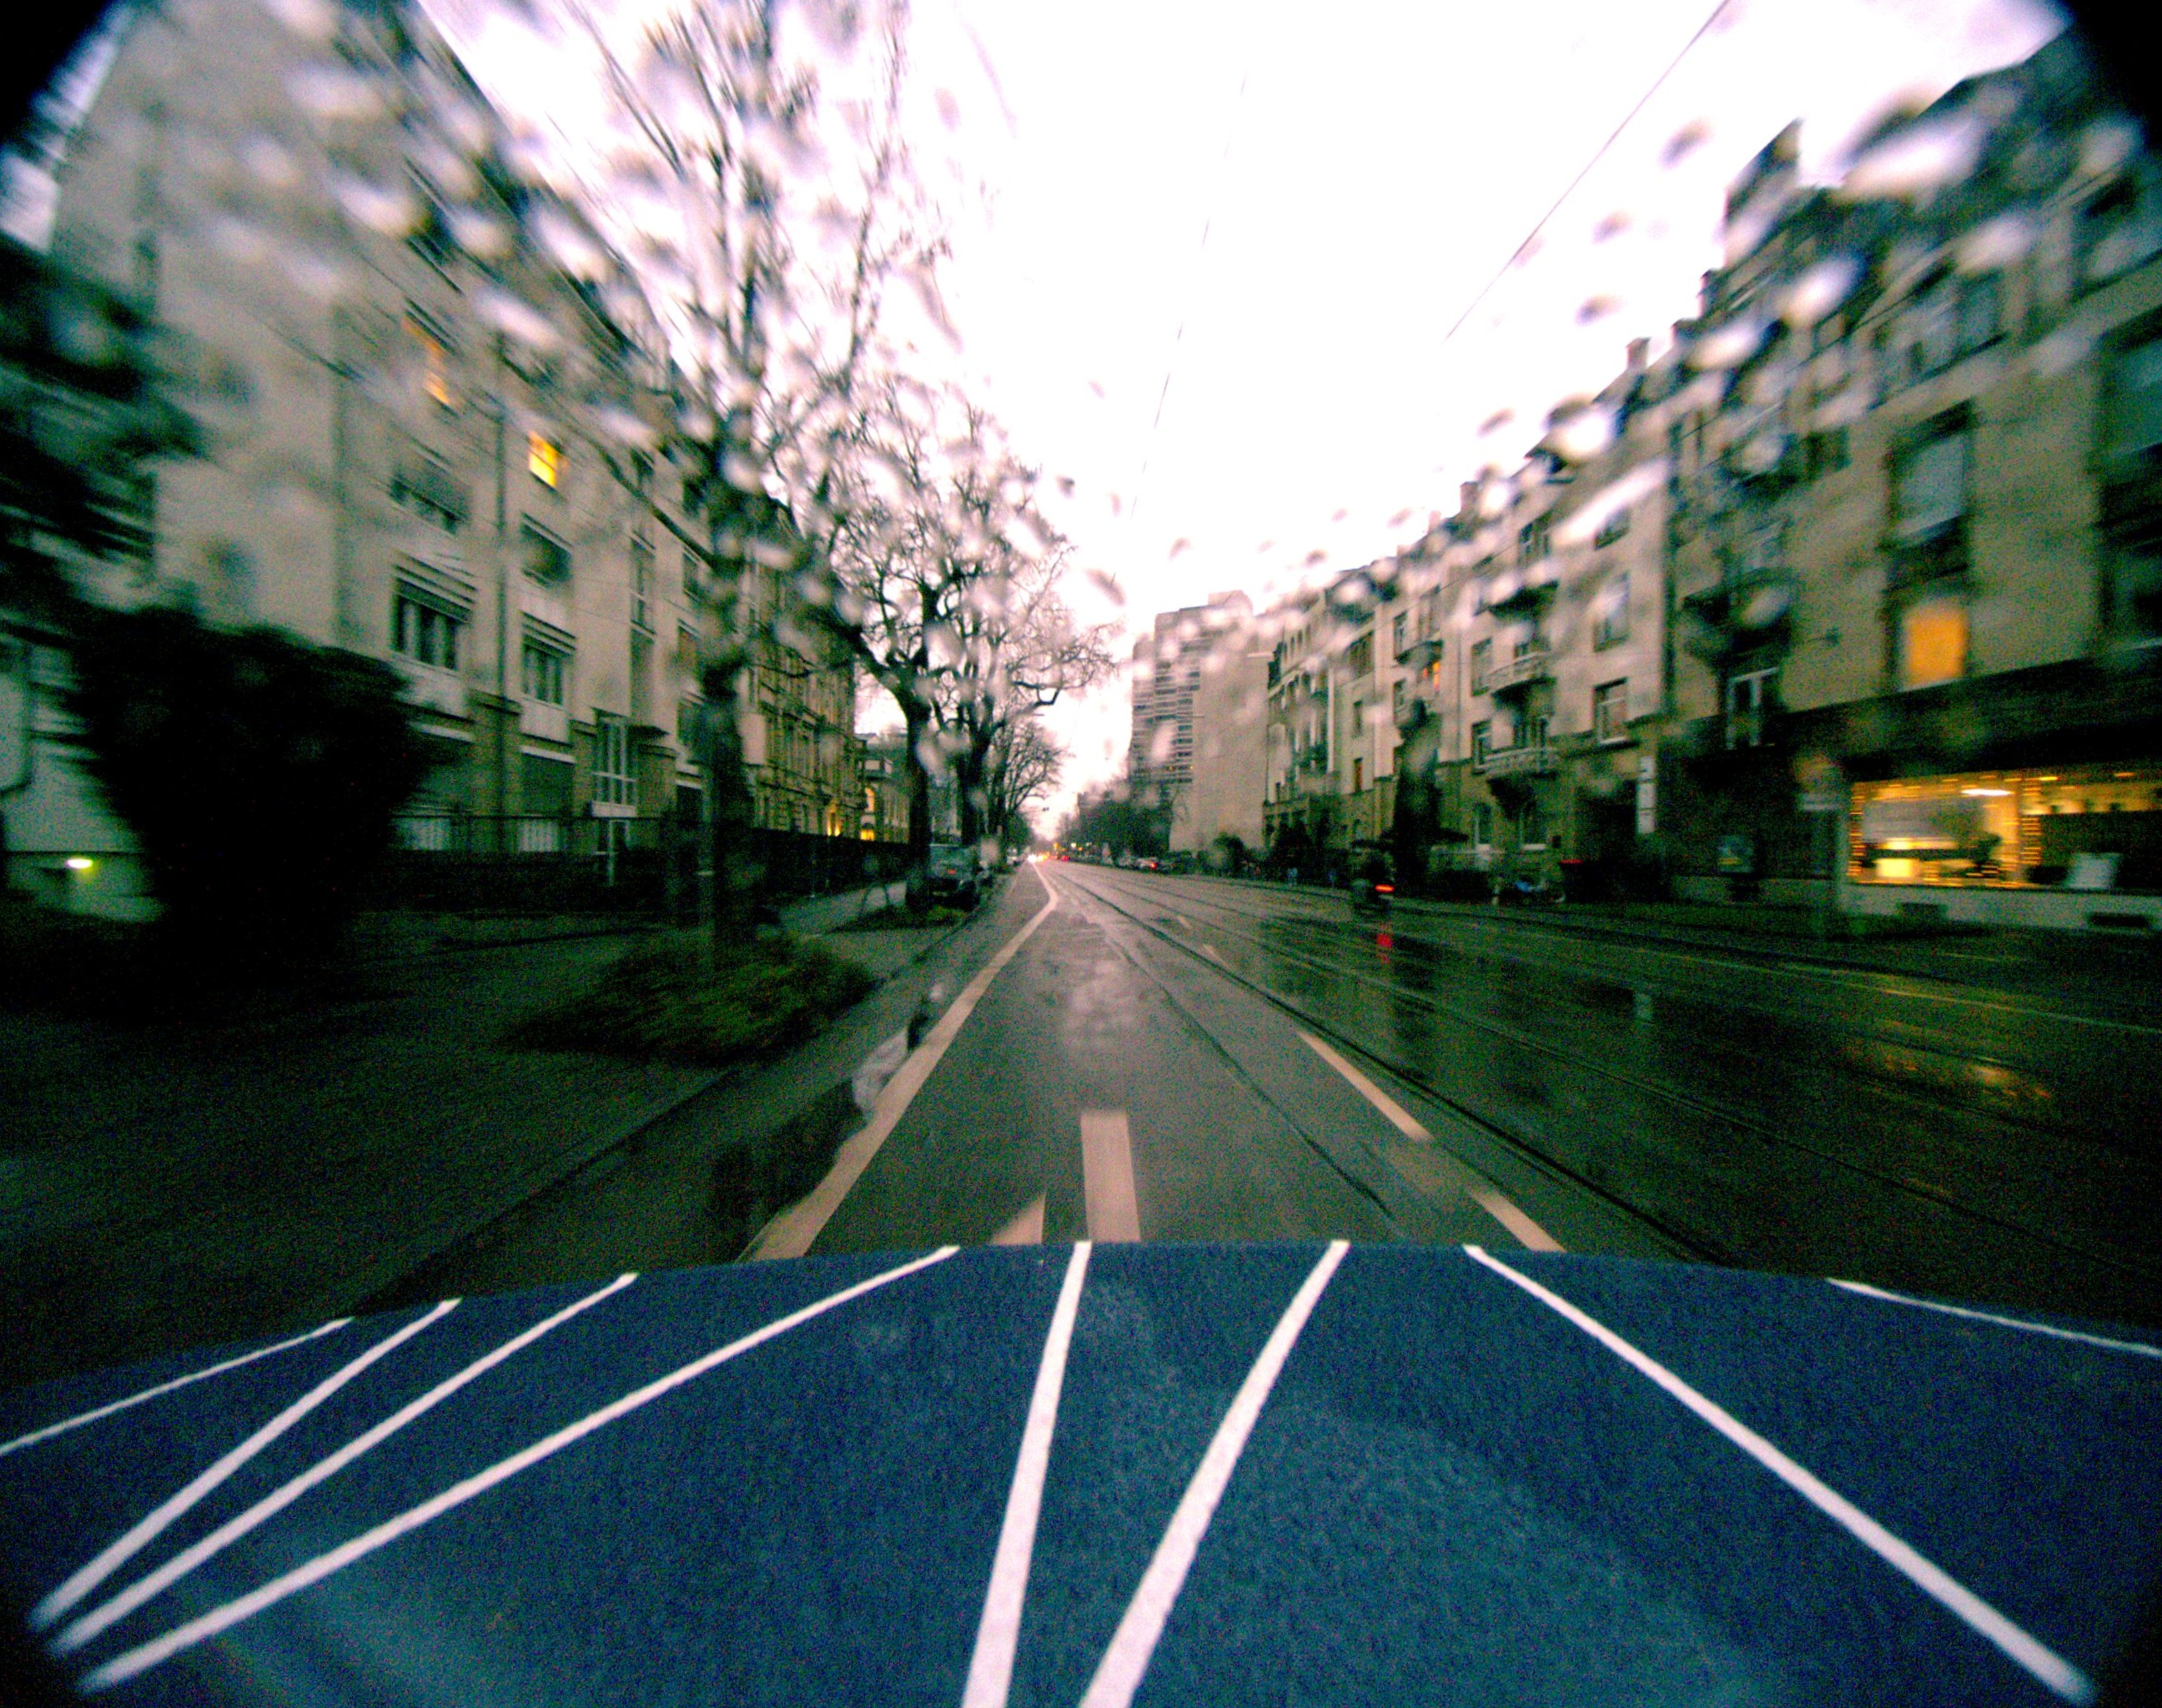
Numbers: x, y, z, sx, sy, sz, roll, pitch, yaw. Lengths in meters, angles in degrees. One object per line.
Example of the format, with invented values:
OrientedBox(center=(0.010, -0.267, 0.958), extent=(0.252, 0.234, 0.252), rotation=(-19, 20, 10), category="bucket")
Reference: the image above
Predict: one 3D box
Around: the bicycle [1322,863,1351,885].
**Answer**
OrientedBox(center=(11.209, 0.862, 33.430), extent=(0.531, 0.884, 2.209), rotation=(-3, 1, 0), category="bicycle")

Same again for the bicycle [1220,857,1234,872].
OrientedBox(center=(9.877, 0.704, 51.447), extent=(0.435, 1.001, 1.880), rotation=(-3, 1, -2), category="bicycle")

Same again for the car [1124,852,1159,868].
OrientedBox(center=(7.116, 0.672, 89.902), extent=(3.841, 1.707, 1.726), rotation=(-3, 1, -3), category="car")

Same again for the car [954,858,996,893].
OrientedBox(center=(-4.756, 0.926, 34.270), extent=(1.727, 1.405, 3.840), rotation=(-3, 1, -7), category="car")

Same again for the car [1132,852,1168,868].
OrientedBox(center=(7.931, 0.697, 87.128), extent=(3.841, 1.707, 1.727), rotation=(-2, 0, -3), category="car")

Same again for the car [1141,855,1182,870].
OrientedBox(center=(8.030, 0.830, 76.223), extent=(3.841, 1.405, 1.727), rotation=(-2, 0, -3), category="car")

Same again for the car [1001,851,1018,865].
OrientedBox(center=(-7.740, 0.412, 82.403), extent=(1.727, 1.405, 3.840), rotation=(0, 0, -7), category="car")

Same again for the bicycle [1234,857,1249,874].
OrientedBox(center=(10.122, 0.737, 47.980), extent=(0.435, 1.001, 1.880), rotation=(-3, 1, -2), category="bicycle")

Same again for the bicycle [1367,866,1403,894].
OrientedBox(center=(11.426, 0.965, 28.633), extent=(0.531, 0.934, 2.085), rotation=(-3, 1, 0), category="bicycle")

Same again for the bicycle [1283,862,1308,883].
OrientedBox(center=(10.941, 0.930, 38.837), extent=(0.524, 1.001, 2.208), rotation=(-3, 1, -2), category="bicycle")

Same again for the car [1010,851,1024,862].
OrientedBox(center=(-8.630, 0.282, 101.573), extent=(1.727, 1.405, 3.840), rotation=(0, 0, -7), category="car")

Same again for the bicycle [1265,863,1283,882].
OrientedBox(center=(10.693, 1.004, 42.184), extent=(0.435, 1.001, 1.712), rotation=(-3, 1, -2), category="bicycle")

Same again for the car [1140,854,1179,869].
OrientedBox(center=(8.337, 0.808, 80.740), extent=(3.841, 1.405, 1.726), rotation=(-3, 1, -3), category="car")

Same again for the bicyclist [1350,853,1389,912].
OrientedBox(center=(7.468, 0.732, 19.705), extent=(0.658, 1.492, 0.657), rotation=(2, 1, -11), category="bicyclist")

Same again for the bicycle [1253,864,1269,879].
OrientedBox(center=(10.408, 1.000, 43.984), extent=(0.442, 0.827, 1.767), rotation=(-3, 1, -2), category="bicycle")

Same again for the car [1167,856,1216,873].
OrientedBox(center=(9.410, 0.867, 64.989), extent=(3.841, 1.405, 1.726), rotation=(0, 0, -3), category="car")

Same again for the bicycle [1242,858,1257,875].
OrientedBox(center=(10.179, 0.754, 45.890), extent=(0.435, 1.001, 1.604), rotation=(-3, 1, -2), category="bicycle")

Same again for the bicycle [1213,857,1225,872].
OrientedBox(center=(9.694, 0.721, 53.448), extent=(0.435, 1.001, 1.880), rotation=(-3, 1, -2), category="bicycle")

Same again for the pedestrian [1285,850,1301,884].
OrientedBox(center=(10.275, 0.641, 36.876), extent=(0.574, 1.633, 0.448), rotation=(-3, 1, -7), category="pedestrian")

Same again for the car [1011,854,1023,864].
OrientedBox(center=(-10.417, 0.792, 123.674), extent=(1.727, 1.405, 3.840), rotation=(-3, 1, -7), category="car")

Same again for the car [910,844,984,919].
OrientedBox(center=(-3.881, 0.729, 22.667), extent=(1.727, 1.934, 4.506), rotation=(-3, 1, -5), category="car")

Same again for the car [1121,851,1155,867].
OrientedBox(center=(7.036, 0.622, 93.858), extent=(3.841, 1.707, 1.726), rotation=(-3, 1, -3), category="car")

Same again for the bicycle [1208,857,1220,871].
OrientedBox(center=(9.711, 0.726, 55.512), extent=(0.435, 1.001, 1.880), rotation=(-3, 1, -2), category="bicycle")

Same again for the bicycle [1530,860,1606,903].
OrientedBox(center=(14.614, 0.814, 22.818), extent=(1.990, 1.152, 0.531), rotation=(-3, 1, -4), category="bicycle")

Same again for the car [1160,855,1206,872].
OrientedBox(center=(9.049, 0.844, 67.644), extent=(3.841, 1.405, 1.727), rotation=(1, 0, -3), category="car")

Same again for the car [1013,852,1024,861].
OrientedBox(center=(-11.362, 0.439, 137.650), extent=(1.727, 1.405, 3.840), rotation=(-3, 1, -7), category="car")

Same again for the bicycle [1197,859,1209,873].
OrientedBox(center=(9.383, 0.934, 58.385), extent=(0.469, 1.001, 1.880), rotation=(-3, 1, -2), category="bicycle")

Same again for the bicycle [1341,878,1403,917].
OrientedBox(center=(7.479, 1.097, 19.623), extent=(0.649, 0.884, 1.711), rotation=(2, 0, -11), category="bicycle")

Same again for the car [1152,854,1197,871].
OrientedBox(center=(8.675, 0.778, 70.432), extent=(3.841, 1.405, 1.726), rotation=(-3, 1, -3), category="car")
